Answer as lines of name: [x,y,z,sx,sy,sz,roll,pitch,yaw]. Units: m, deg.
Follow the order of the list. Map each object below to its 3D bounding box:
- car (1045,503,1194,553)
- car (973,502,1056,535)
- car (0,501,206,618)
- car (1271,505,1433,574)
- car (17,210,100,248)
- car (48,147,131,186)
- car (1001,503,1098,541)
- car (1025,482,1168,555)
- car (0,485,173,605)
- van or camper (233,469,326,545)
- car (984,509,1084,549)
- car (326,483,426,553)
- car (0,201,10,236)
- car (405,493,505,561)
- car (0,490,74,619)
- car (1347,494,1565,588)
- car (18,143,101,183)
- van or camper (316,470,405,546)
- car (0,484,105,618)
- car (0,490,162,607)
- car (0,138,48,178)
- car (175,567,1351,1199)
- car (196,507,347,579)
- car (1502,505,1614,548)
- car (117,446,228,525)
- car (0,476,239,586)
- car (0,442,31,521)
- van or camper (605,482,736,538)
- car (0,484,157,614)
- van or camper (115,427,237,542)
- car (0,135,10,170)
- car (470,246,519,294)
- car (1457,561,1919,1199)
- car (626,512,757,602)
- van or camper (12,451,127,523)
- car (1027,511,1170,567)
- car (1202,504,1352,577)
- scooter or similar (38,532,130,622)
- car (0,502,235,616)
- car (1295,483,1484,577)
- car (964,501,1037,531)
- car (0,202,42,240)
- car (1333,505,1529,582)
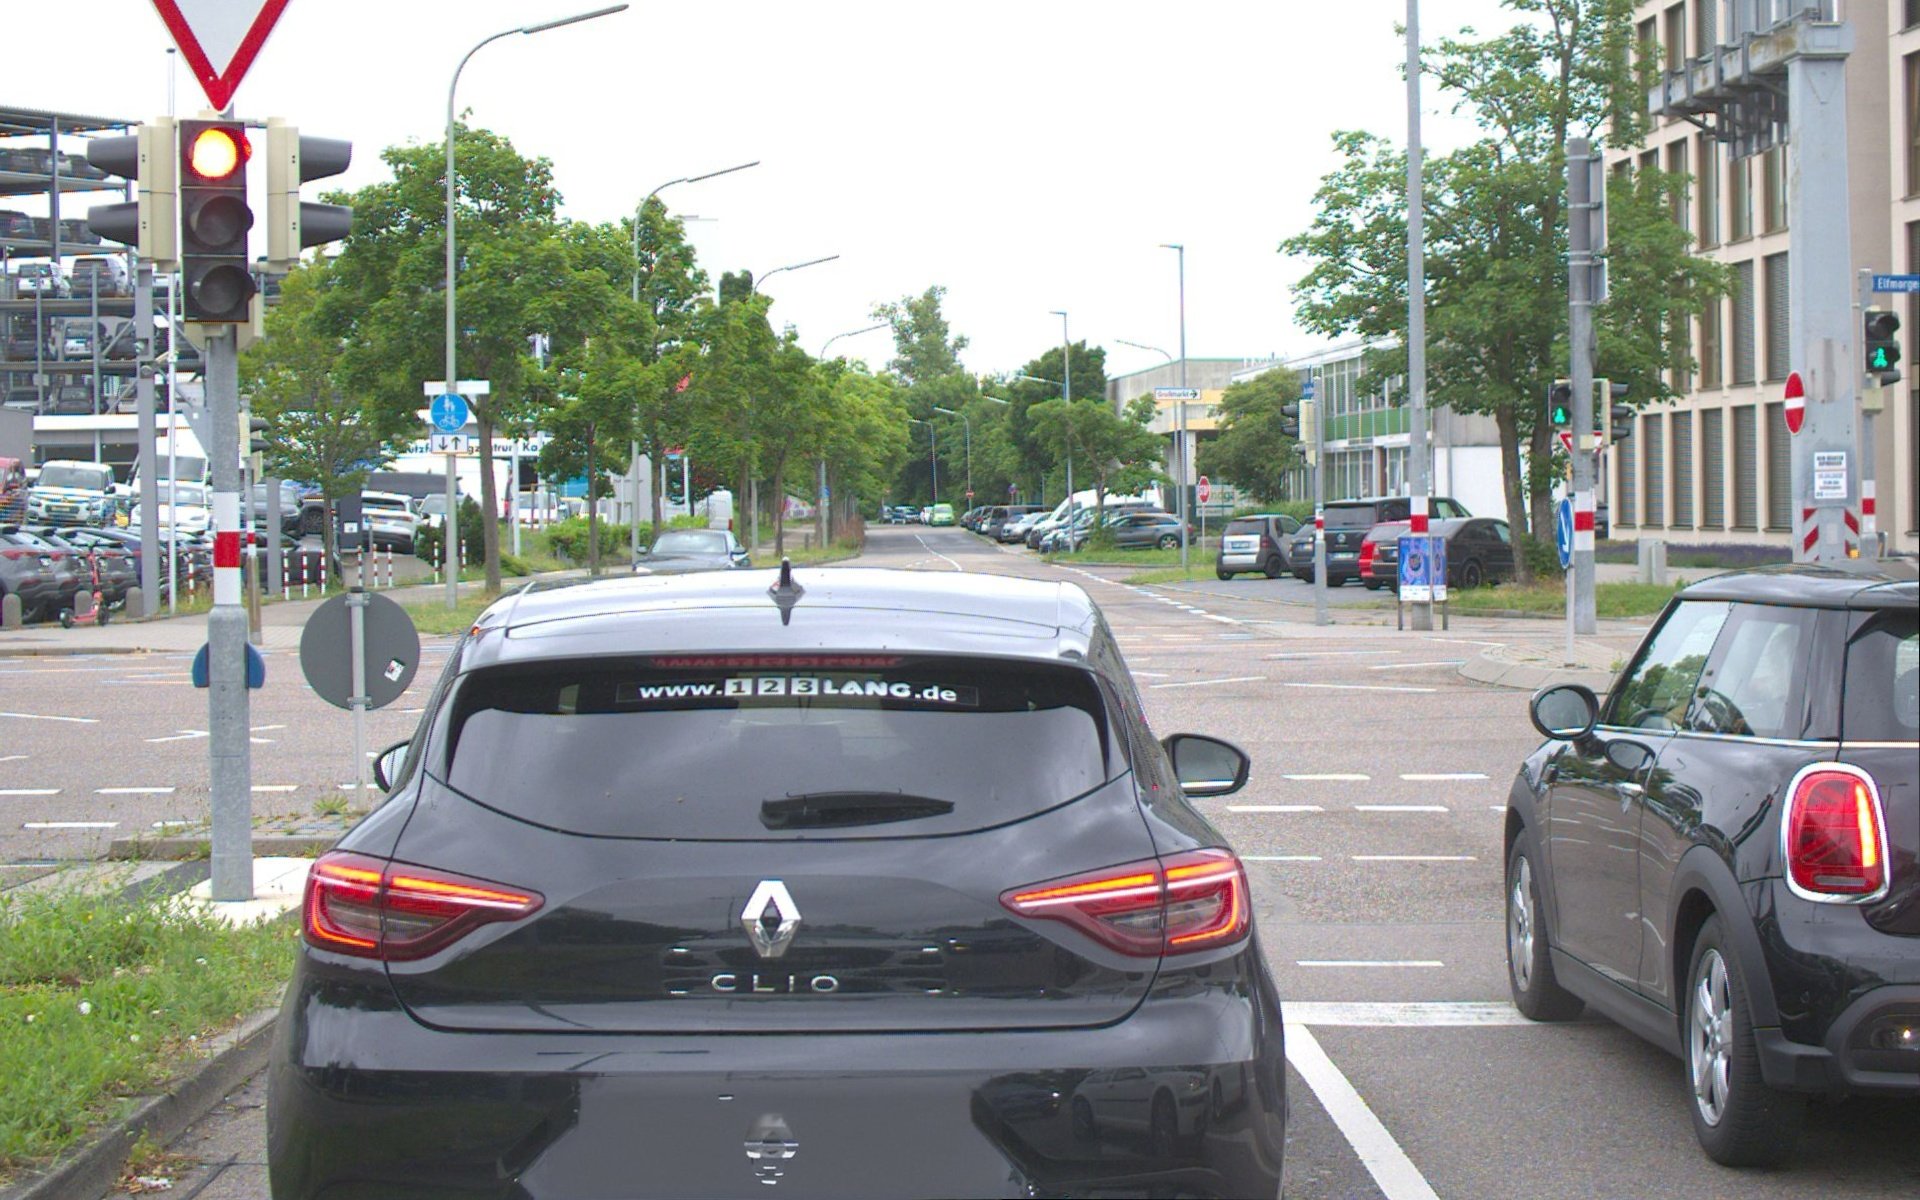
car: [5.713,-2.585,123.718,5.173,1.714,2.144,1,0,-2]
car: [3.449,-5.182,218.583,5.173,2.007,2.144,1,0,-1]
car: [-16.794,-0.731,64.488,4.892,2.007,2.000,-3,1,-5]
car: [8.868,-1.374,77.635,1.696,1.506,3.808,0,1,43]
car: [-47.044,-19.341,179.467,3.994,1.661,1.997,1,2,32]
car: [-45.965,-22.869,181.536,3.994,1.661,1.997,1,2,32]
car: [4.568,-3.971,175.548,4.785,1.885,2.144,1,0,-2]
car: [6.009,-3.586,151.564,6.116,3.105,2.134,1,0,-1]
car: [-16.699,-0.936,61.667,4.772,2.007,2.000,-3,1,-6]
van or camper: [-18.706,-2.545,94.658,1.993,2.007,4.001,1,1,-4]
car: [3.891,-3.749,182.154,5.173,2.007,2.144,1,0,-1]
car: [-14.132,-1.975,83.397,1.993,1.612,4.001,1,1,-4]
car: [-50.272,-19.297,174.159,3.994,1.661,1.997,1,2,32]
car: [-12.358,-1.769,84.378,1.993,1.612,4.000,1,1,-2]
car: [-15.779,-0.581,50.973,4.771,1.856,2.000,-3,1,-5]
car: [9.635,-1.139,66.645,4.121,1.762,1.888,-1,1,-40]
car: [-47.062,-22.816,179.593,3.994,1.661,1.997,1,2,32]
van or camper: [-16.508,-2.516,94.850,1.993,2.007,4.001,1,1,-4]
car: [-15.913,-0.687,53.541,4.700,2.007,2.000,-3,1,-4]
car: [-16.419,-0.823,59.176,4.945,1.870,2.054,-3,1,-6]
car: [-48.902,-22.641,176.241,3.994,1.661,1.997,1,2,32]
car: [-0.322,0.659,7.174,1.757,1.430,4.000,1,1,-1]
car: [-19.790,-1.626,98.908,3.986,2.007,2.000,1,0,-3]
car: [19.308,-2.365,110.997,3.229,1.328,1.486,1,1,-19]
car: [-19.077,-2.754,83.429,1.993,1.817,4.001,1,1,-4]
car: [-17.332,-1.399,70.011,4.892,2.007,2.000,-3,1,-5]
car: [-23.998,-2.870,83.540,1.993,1.842,4.001,1,1,-4]
van or camper: [-12.768,-3.983,151.794,5.598,2.363,2.000,1,0,-1]
car: [-15.967,-0.779,56.548,5.022,2.007,2.266,-3,1,-5]
van or camper: [-21.554,-3.128,94.660,2.535,3.016,4.844,1,1,-4]
car: [-50.292,-22.643,174.132,3.994,1.661,1.997,1,2,32]
car: [-21.480,-15.213,158.667,1.993,1.876,4.001,-1,1,-5]
car: [2.529,0.615,9.292,1.786,1.411,3.643,1,1,-1]
car: [-4.845,-0.814,62.576,1.978,1.546,4.614,-1,2,0]
van or camper: [-21.544,-2.717,83.303,1.993,1.645,4.001,1,1,-4]
car: [5.190,-2.292,128.968,5.173,2.007,2.144,1,0,-2]
car: [7.755,-1.439,83.948,3.424,1.726,1.765,0,1,-42]
scooter or similar: [-12.297,-0.331,48.306,0.557,1.214,1.559,2,2,13]
car: [-16.826,-0.789,67.208,4.892,2.007,2.000,-3,1,-5]
car: [9.298,-1.496,74.230,1.998,1.959,4.235,0,1,41]
car: [2.708,-5.611,229.851,4.785,1.885,2.144,1,0,-2]
car: [-49.177,-19.382,176.115,3.994,1.661,1.997,1,2,32]
car: [9.754,-1.173,71.033,1.887,1.546,4.123,0,1,45]
